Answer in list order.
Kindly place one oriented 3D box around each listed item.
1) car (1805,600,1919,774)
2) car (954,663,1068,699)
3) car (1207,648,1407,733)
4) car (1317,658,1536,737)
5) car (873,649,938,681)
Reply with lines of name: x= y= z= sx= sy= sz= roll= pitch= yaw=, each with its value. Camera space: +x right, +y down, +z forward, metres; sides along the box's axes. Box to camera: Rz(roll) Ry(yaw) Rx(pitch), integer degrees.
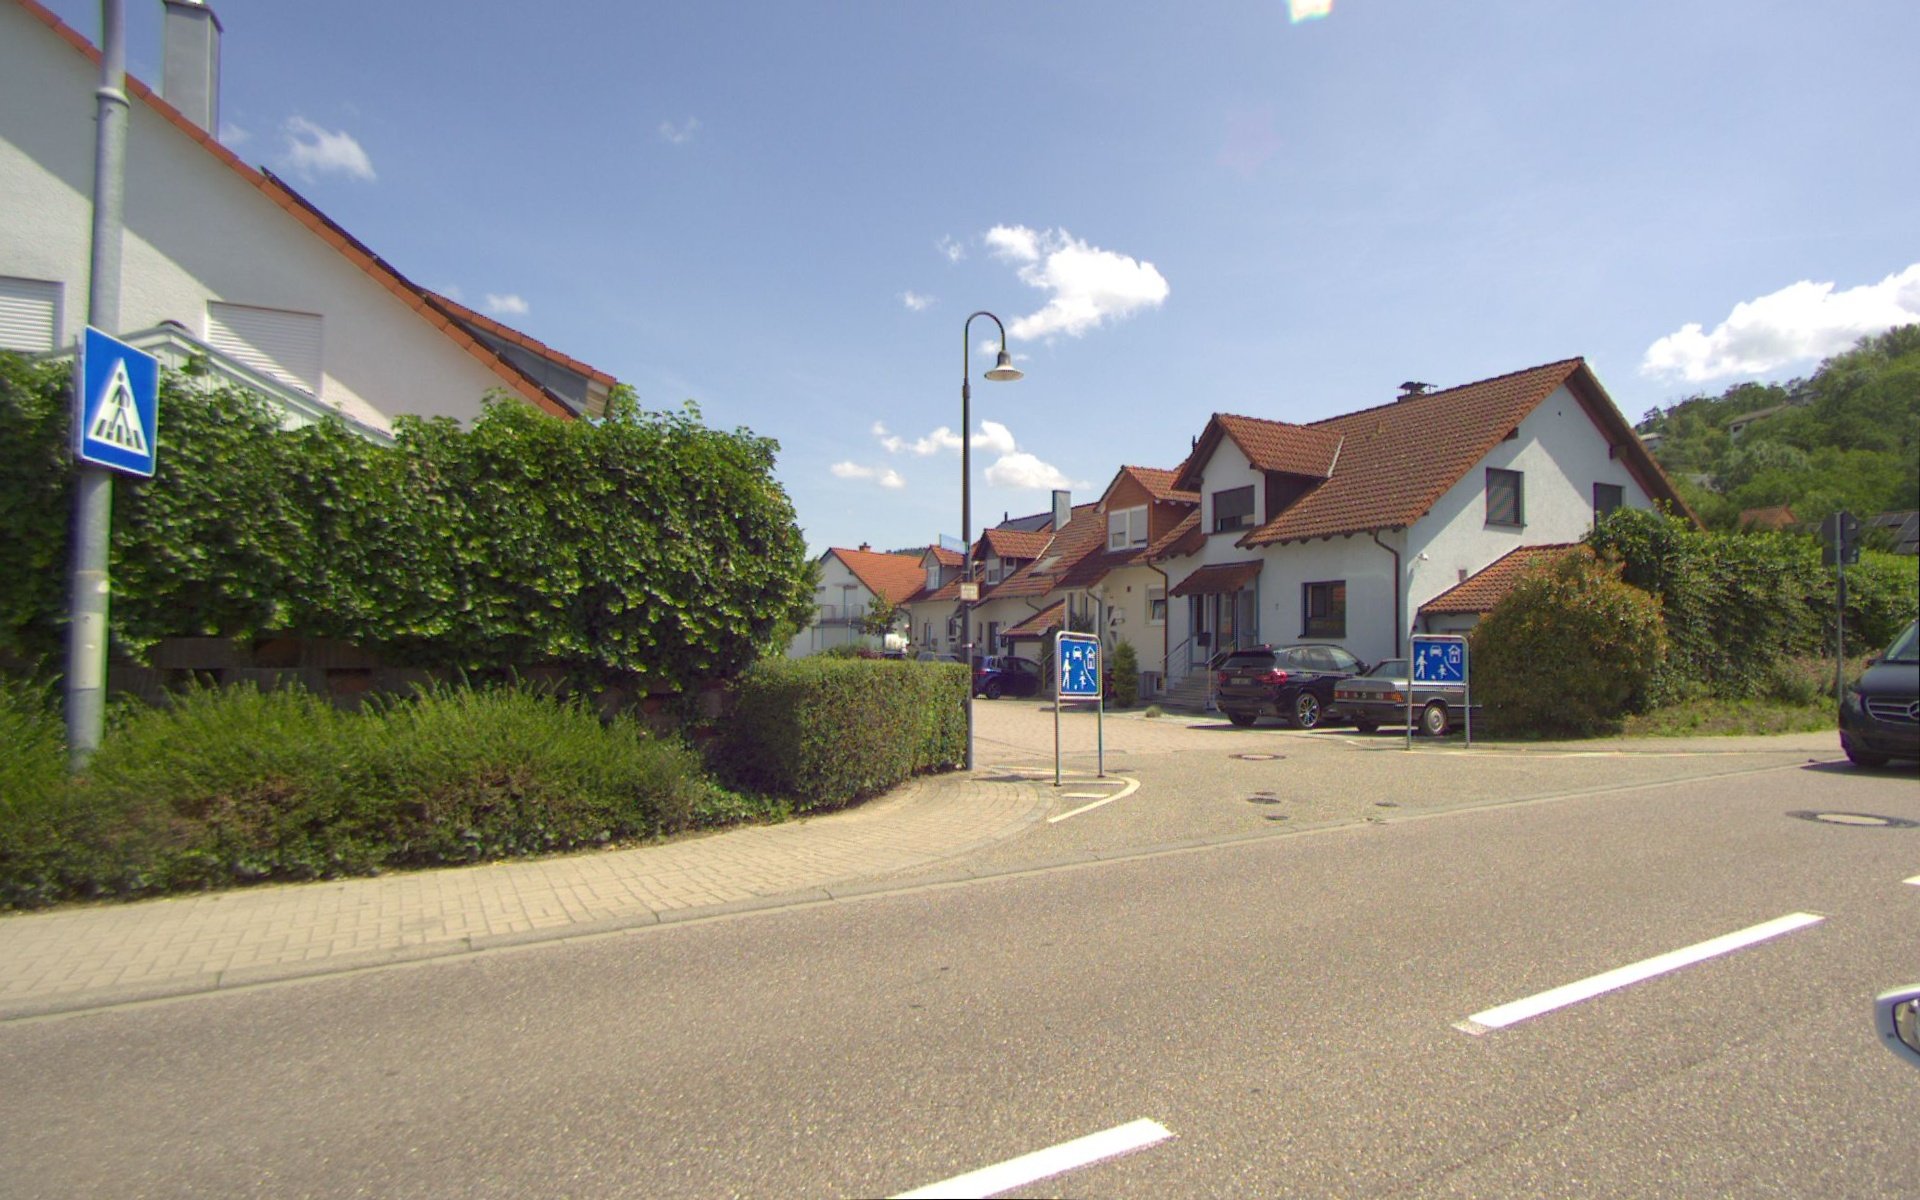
car: x=12.612 y=0.990 z=12.008 sx=5.003 sy=1.876 sz=1.987 roll=1 pitch=-3 yaw=-26
car: x=1.853 y=2.912 z=36.385 sx=3.776 sy=1.200 sz=1.761 roll=1 pitch=-3 yaw=-26
car: x=7.185 y=1.800 z=20.747 sx=3.954 sy=1.570 sz=1.758 roll=1 pitch=-3 yaw=-31
car: x=8.790 y=1.779 z=18.877 sx=3.949 sy=1.302 sz=1.655 roll=1 pitch=-4 yaw=-28
car: x=-2.542 y=2.963 z=45.973 sx=1.747 sy=1.407 sz=3.805 roll=1 pitch=-3 yaw=-24
